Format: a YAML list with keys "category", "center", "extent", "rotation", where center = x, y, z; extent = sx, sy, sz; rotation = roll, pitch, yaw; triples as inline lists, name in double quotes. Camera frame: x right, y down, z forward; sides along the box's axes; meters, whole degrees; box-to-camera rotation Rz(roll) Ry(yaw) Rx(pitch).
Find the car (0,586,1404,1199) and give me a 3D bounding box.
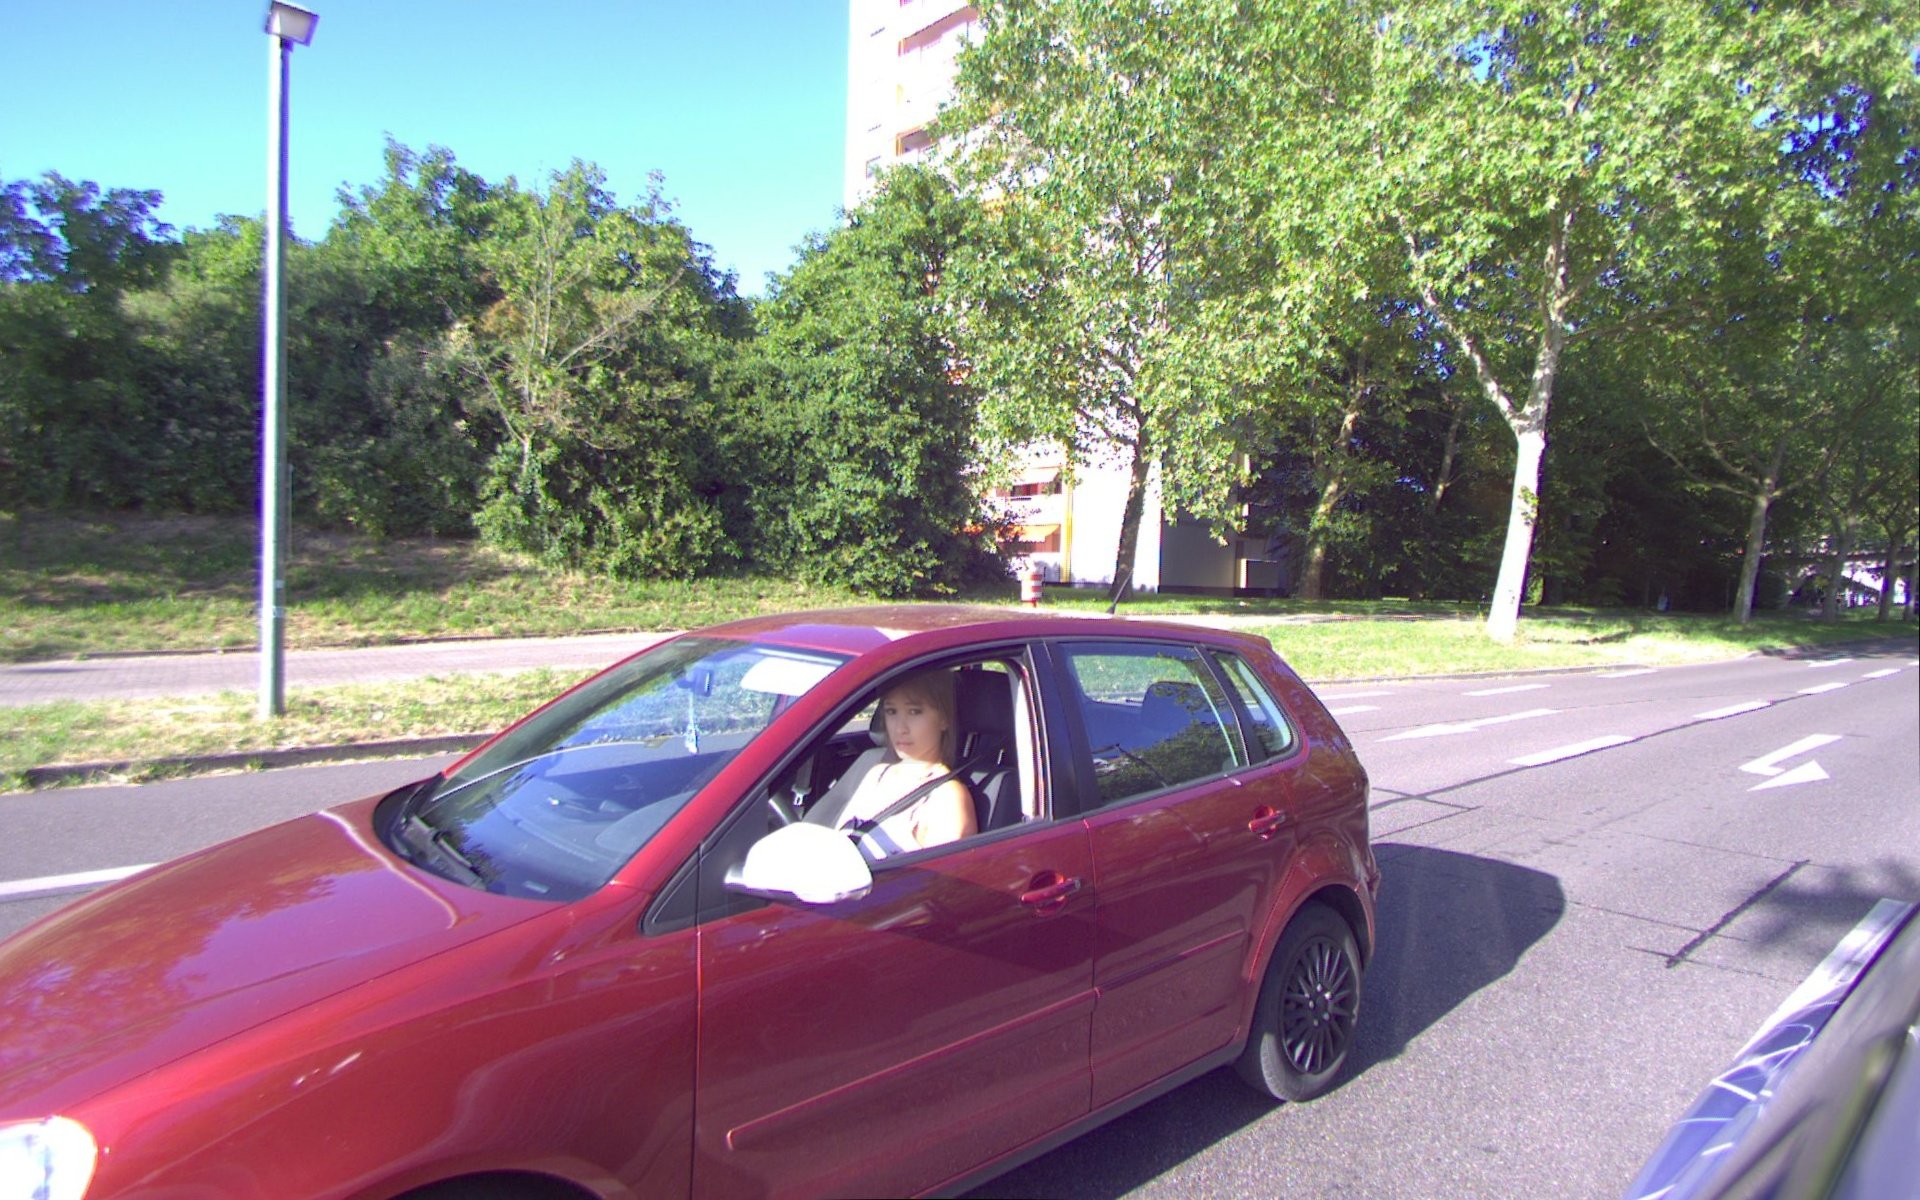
- category: "car"
  center: [-0.446, 0.710, 2.722]
  extent: [3.624, 1.479, 1.579]
  rotation: [-1, 0, -40]
